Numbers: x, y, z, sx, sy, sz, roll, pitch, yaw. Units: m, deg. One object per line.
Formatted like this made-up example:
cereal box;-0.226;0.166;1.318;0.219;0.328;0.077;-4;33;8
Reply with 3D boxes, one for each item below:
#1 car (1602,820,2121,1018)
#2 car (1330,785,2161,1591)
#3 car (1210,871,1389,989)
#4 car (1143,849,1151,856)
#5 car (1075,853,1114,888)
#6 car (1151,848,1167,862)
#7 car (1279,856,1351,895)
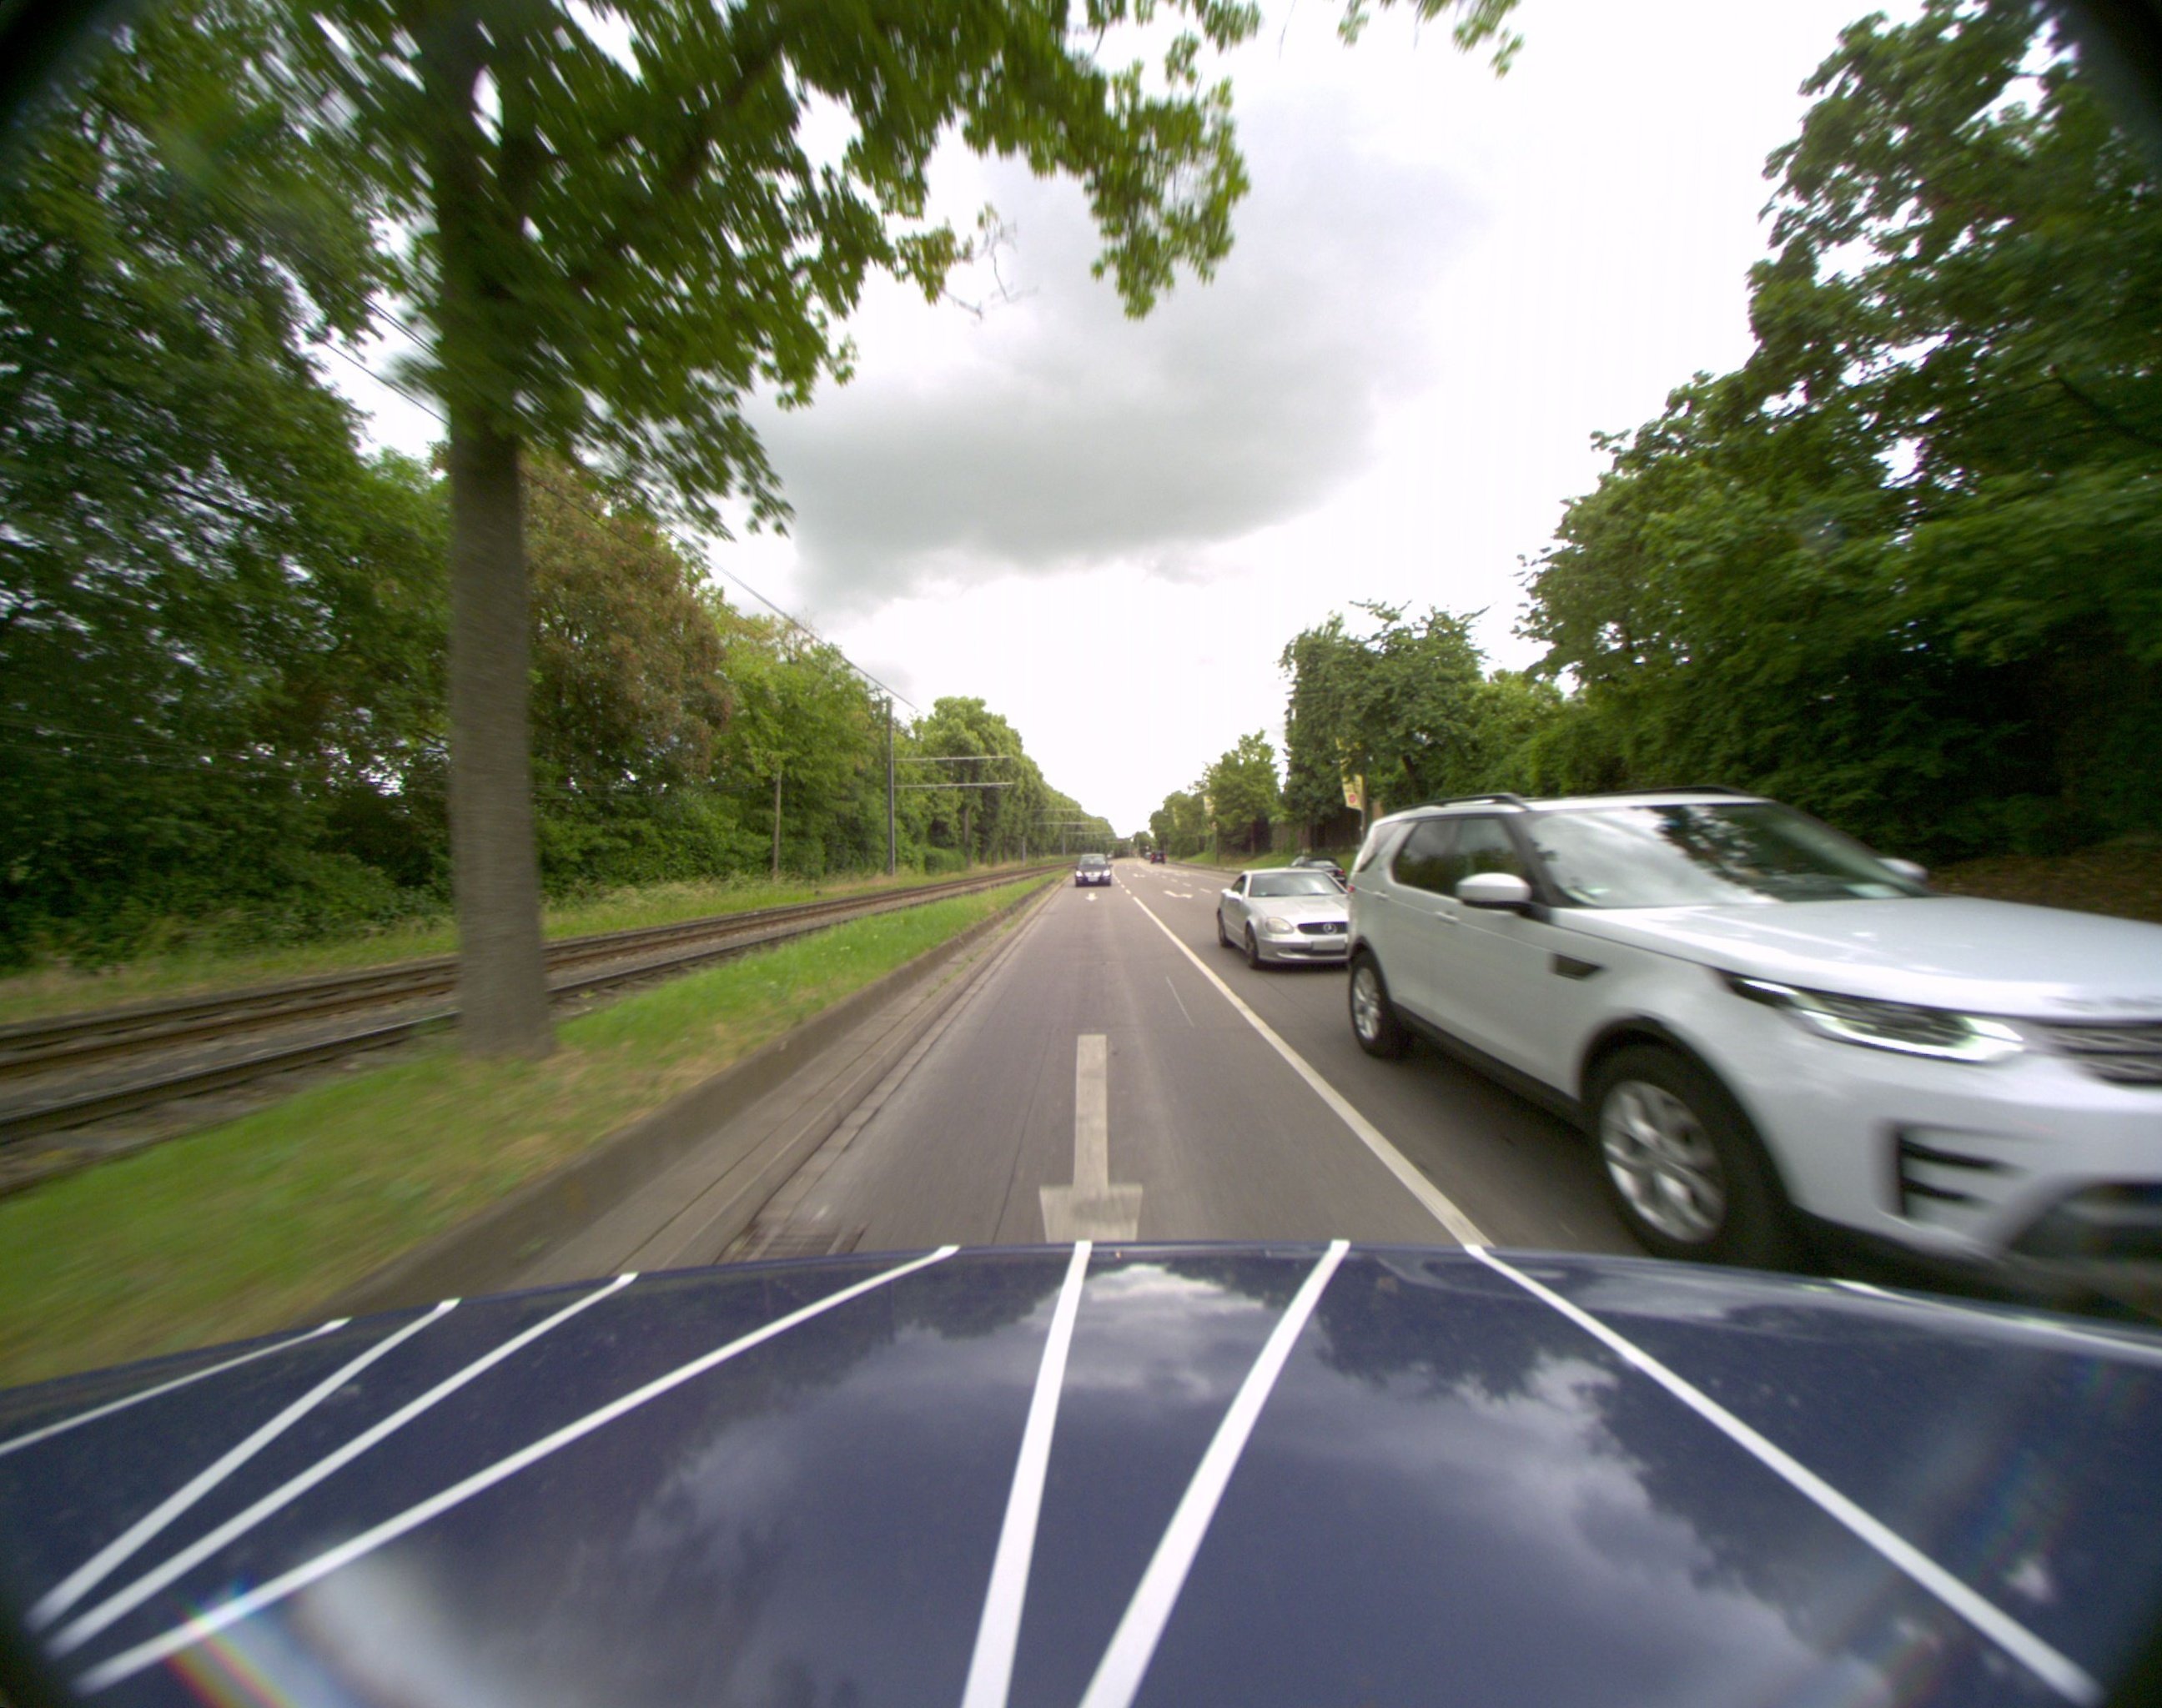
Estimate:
car;8.744;0.598;9.246;1.796;1.821;4.409;0;0;0
car;2.912;0.693;3.917;1.807;1.784;4.503;-3;1;1
car;2.938;0.948;10.983;1.558;1.259;3.823;-2;0;2
car;14.811;-0.354;170.315;1.657;1.414;4.008;1;1;3
car;0.751;0.797;38.506;1.807;1.520;3.929;-3;1;3
car;10.933;0.128;107.293;1.808;1.893;4.688;0;0;0
car;9.062;0.789;29.688;1.634;1.387;3.833;0;0;0
